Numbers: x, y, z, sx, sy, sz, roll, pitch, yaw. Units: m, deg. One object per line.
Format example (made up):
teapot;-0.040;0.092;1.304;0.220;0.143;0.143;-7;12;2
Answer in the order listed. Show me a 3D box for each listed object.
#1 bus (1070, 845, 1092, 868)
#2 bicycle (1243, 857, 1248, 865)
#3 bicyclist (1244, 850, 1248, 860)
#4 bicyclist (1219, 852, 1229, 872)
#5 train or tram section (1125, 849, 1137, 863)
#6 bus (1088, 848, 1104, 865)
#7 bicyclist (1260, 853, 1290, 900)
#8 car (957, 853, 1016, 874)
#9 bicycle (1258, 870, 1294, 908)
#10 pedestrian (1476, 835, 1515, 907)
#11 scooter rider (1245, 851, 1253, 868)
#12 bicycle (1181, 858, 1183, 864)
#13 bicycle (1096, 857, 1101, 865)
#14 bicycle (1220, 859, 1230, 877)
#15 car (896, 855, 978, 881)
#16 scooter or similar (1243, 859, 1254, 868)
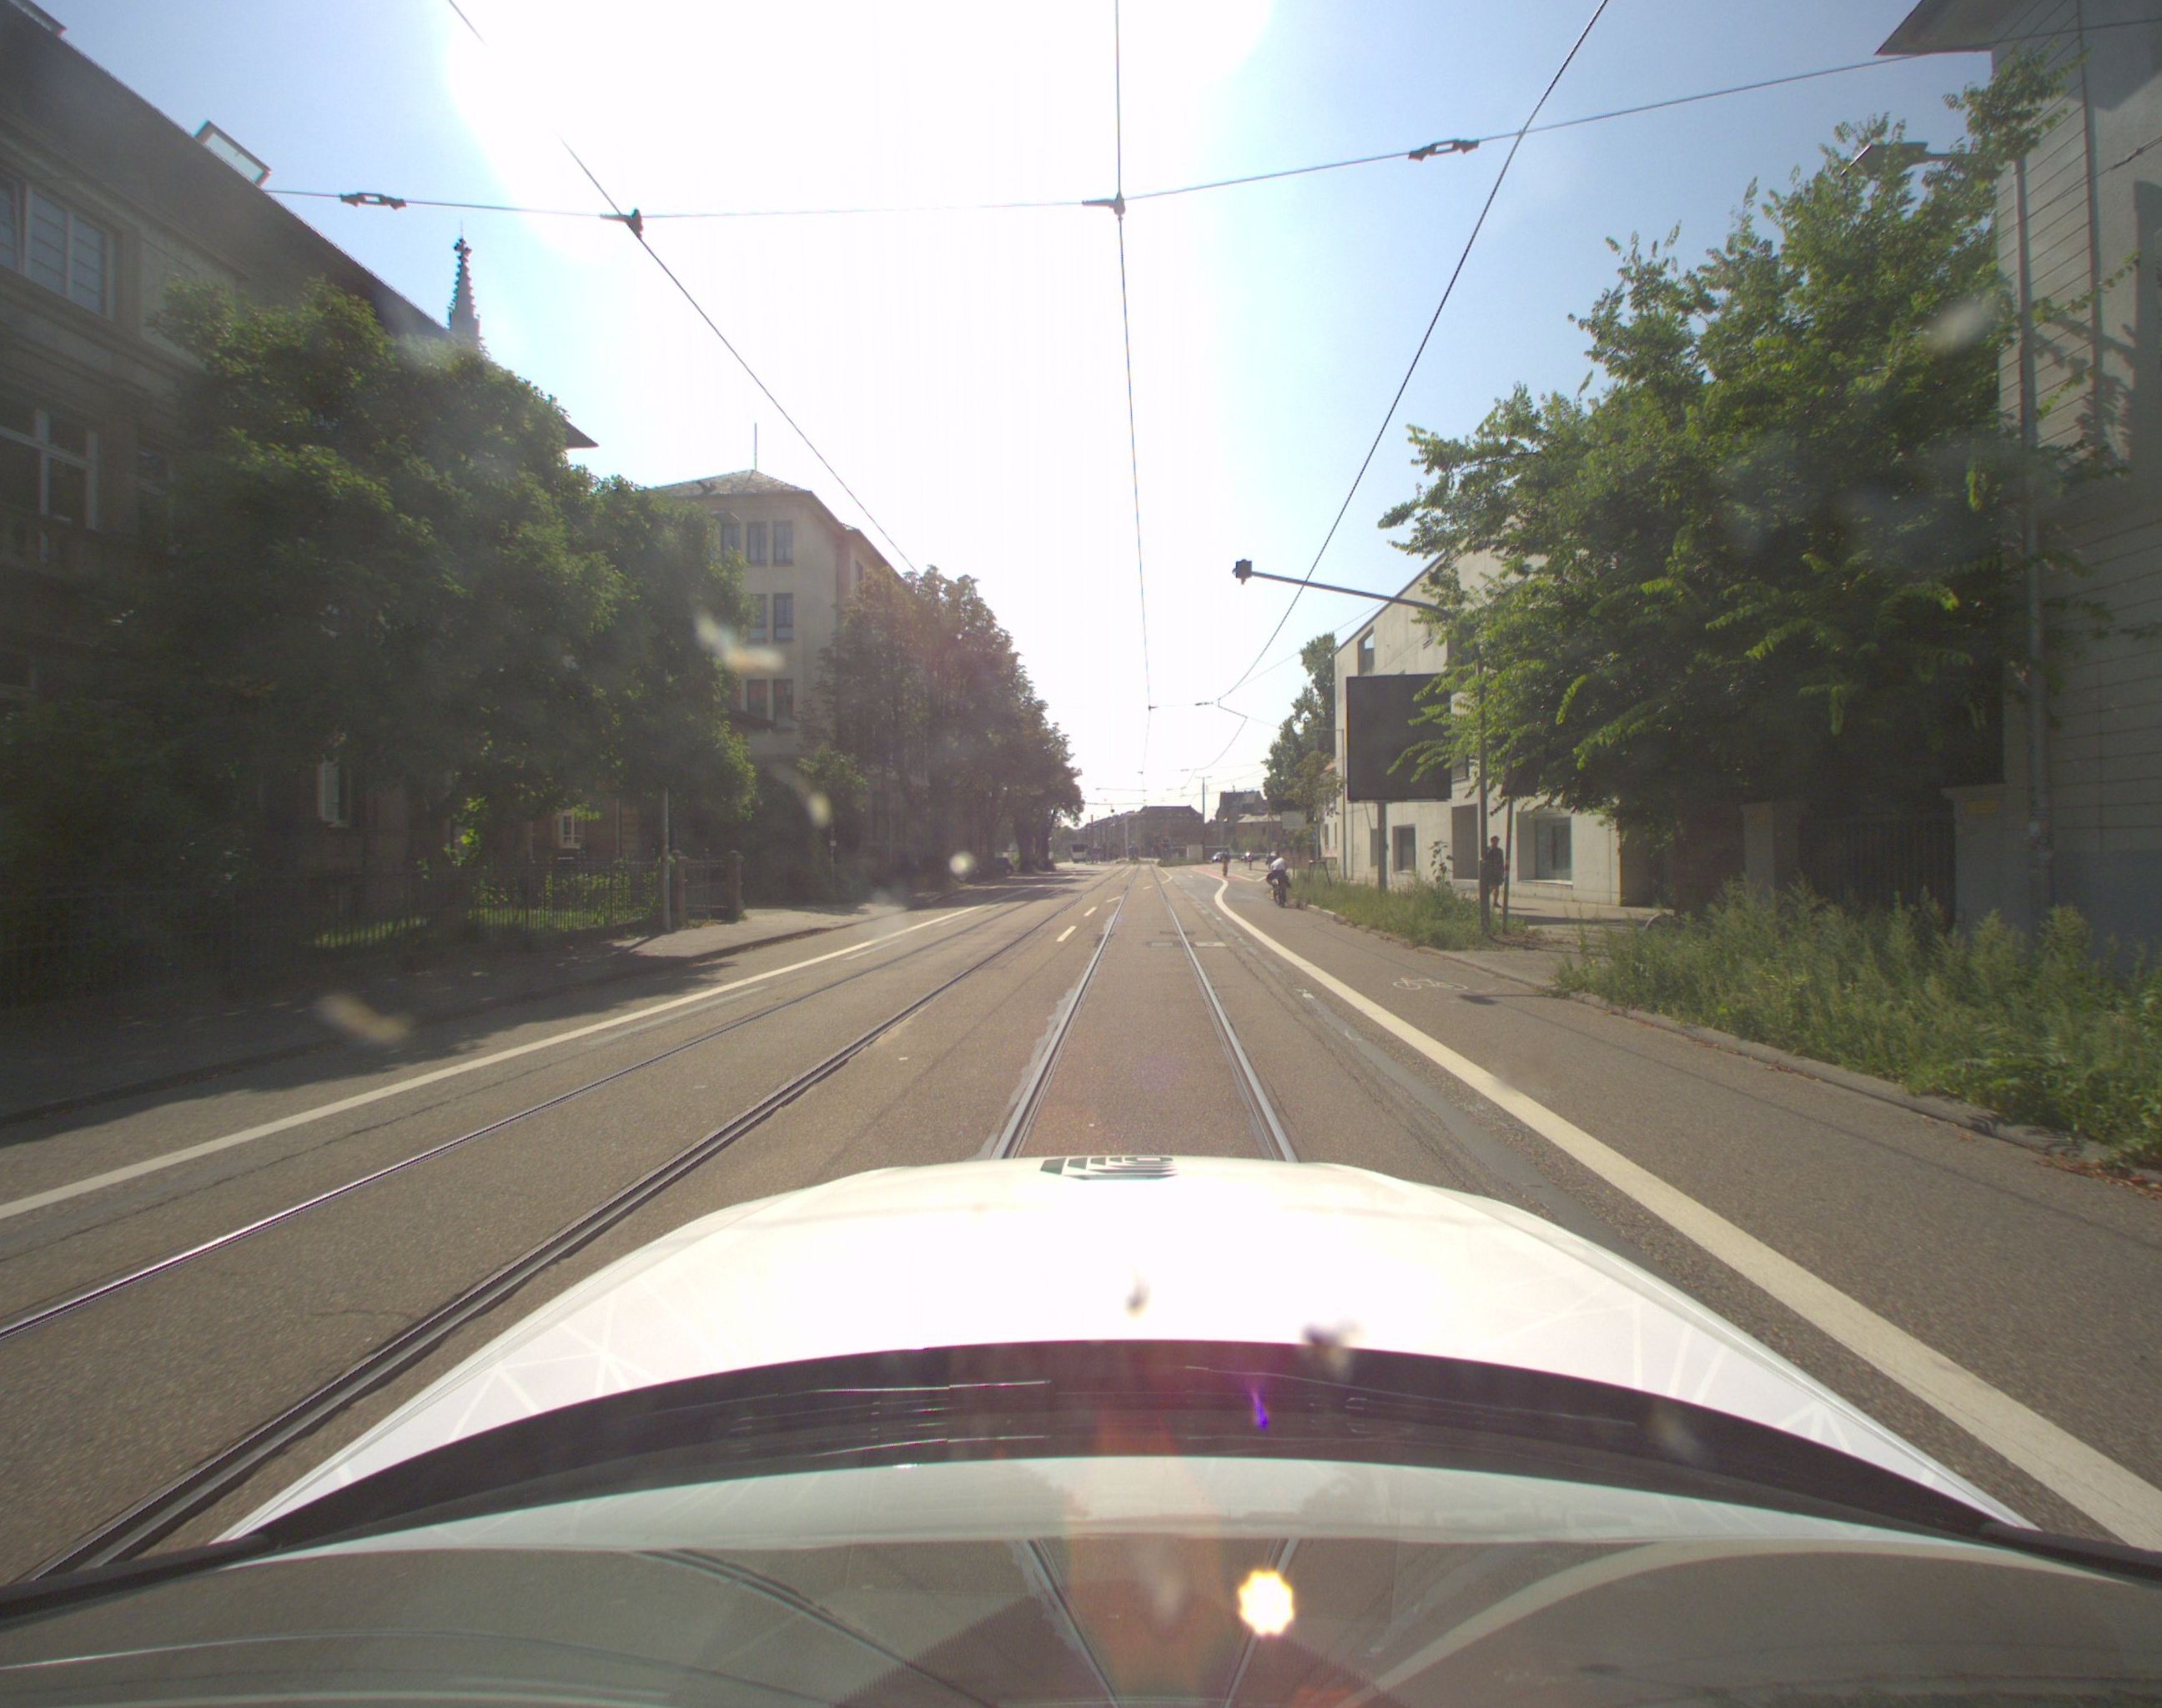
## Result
bus;0.030;0.392;138.559;2.944;3.775;10.608;0;0;4
bicycle;22.832;0.937;113.042;0.440;1.117;1.454;-1;-1;23
bicyclist;22.868;0.183;113.153;0.446;1.421;0.498;-1;-1;22
bicyclist;9.711;0.563;55.261;0.599;1.335;0.661;-1;0;8
train or tram section;13.275;0.543;216.011;2.843;3.548;17.762;0;0;4
bus;3.439;0.653;184.081;2.696;3.727;10.436;0;0;6
bicyclist;5.907;0.677;24.826;0.741;1.411;0.963;0;0;5
car;-7.238;0.720;62.511;4.179;1.496;1.802;0;0;-33
bicycle;5.887;1.041;24.741;0.736;1.049;2.236;0;0;5
pedestrian;10.245;0.411;20.133;0.688;1.732;0.580;-1;0;6
scooter rider;17.337;0.533;83.988;0.755;1.775;0.558;-1;0;21
bicycle;17.653;1.231;142.492;0.462;1.032;1.551;0;0;6
bicycle;2.656;1.139;125.309;0.604;1.222;1.709;-1;0;9
bicycle;9.736;0.944;55.245;0.600;1.163;1.814;-1;0;8
car;-8.349;0.776;47.357;4.433;1.462;1.807;0;0;-23
scooter or similar;17.256;0.954;83.801;0.765;0.926;1.629;0;0;22
